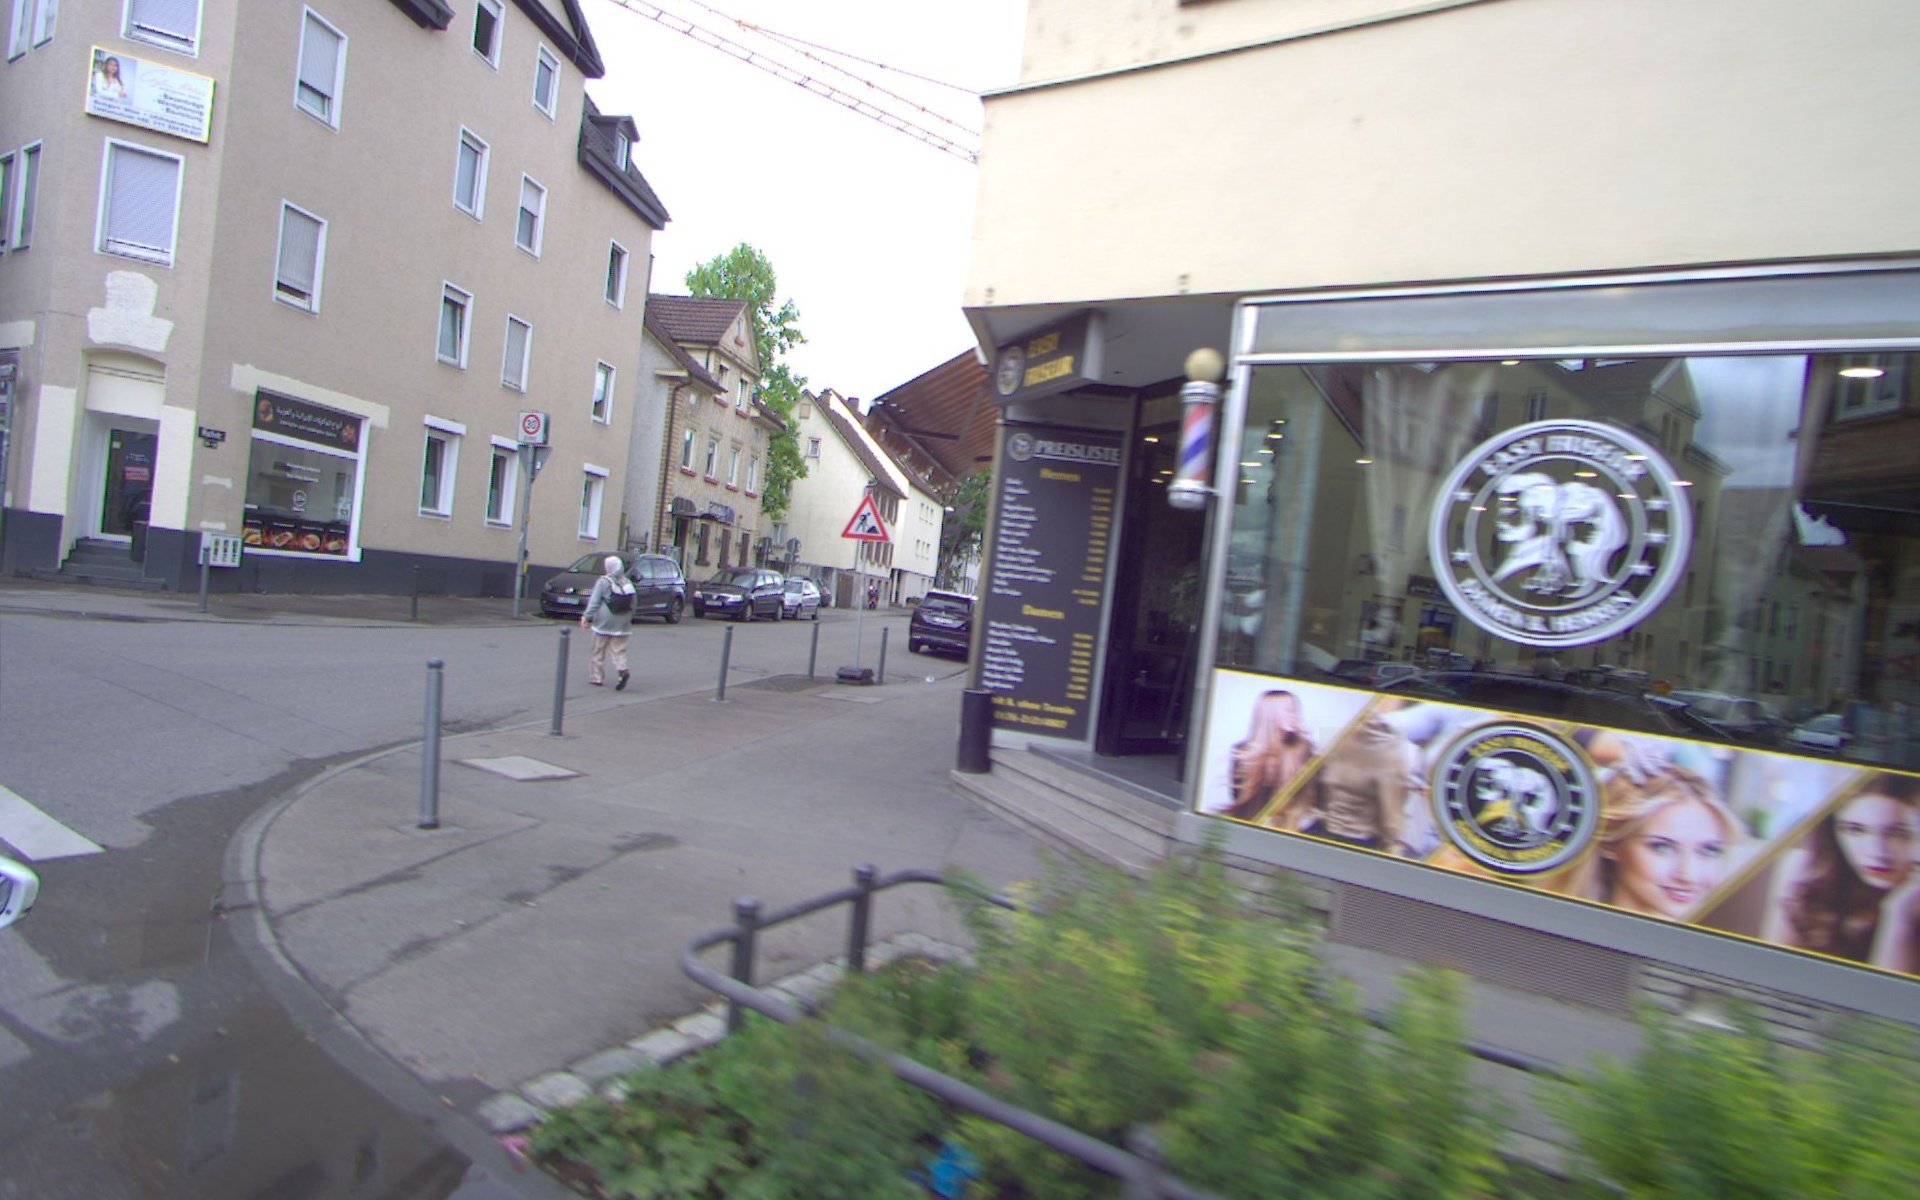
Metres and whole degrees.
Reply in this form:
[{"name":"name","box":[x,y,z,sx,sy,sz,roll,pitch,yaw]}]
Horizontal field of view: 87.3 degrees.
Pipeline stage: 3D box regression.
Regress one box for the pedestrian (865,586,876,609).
[{"name":"pedestrian","box":[-5.238,-0.173,58.815,0.442,1.295,0.349,6,1,13]}]

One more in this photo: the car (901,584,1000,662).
[{"name":"car","box":[-0.163,0.604,27.329,1.741,1.702,4.234,9,1,10]}]

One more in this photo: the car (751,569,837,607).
[{"name":"car","box":[-8.559,-0.614,51.907,3.924,1.409,1.699,6,-1,15]}]

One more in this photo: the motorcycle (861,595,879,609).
[{"name":"motorcycle","box":[-5.273,0.107,58.896,0.484,0.735,1.663,6,0,12]}]

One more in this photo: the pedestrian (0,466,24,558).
[{"name":"pedestrian","box":[-17.074,-1.578,17.748,0.547,1.579,0.568,6,0,31]}]

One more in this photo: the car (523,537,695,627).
[{"name":"car","box":[-8.054,-0.344,23.563,1.850,1.640,4.237,6,-1,10]}]

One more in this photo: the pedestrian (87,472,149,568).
[{"name":"pedestrian","box":[-14.723,-1.391,17.602,0.512,1.579,0.568,6,0,31]}]

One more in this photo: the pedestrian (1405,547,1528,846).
[{"name":"pedestrian","box":[3.185,0.597,6.346,0.380,1.796,0.396,6,0,-2]}]

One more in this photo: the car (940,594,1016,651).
[{"name":"car","box":[0.644,0.762,32.280,1.741,1.531,3.734,6,-1,10]}]

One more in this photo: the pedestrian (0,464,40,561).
[{"name":"pedestrian","box":[-16.531,-1.523,17.441,0.644,1.579,0.568,6,0,31]}]

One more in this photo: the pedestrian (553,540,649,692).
[{"name":"pedestrian","box":[-4.263,0.185,11.994,0.786,1.685,0.675,5,1,-5]}]

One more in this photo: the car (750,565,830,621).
[{"name":"car","box":[-6.100,-0.197,36.613,1.653,1.640,4.237,6,-1,6]}]

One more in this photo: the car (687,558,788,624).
[{"name":"car","box":[-6.770,-0.217,31.089,1.631,1.640,4.237,6,-1,6]}]
